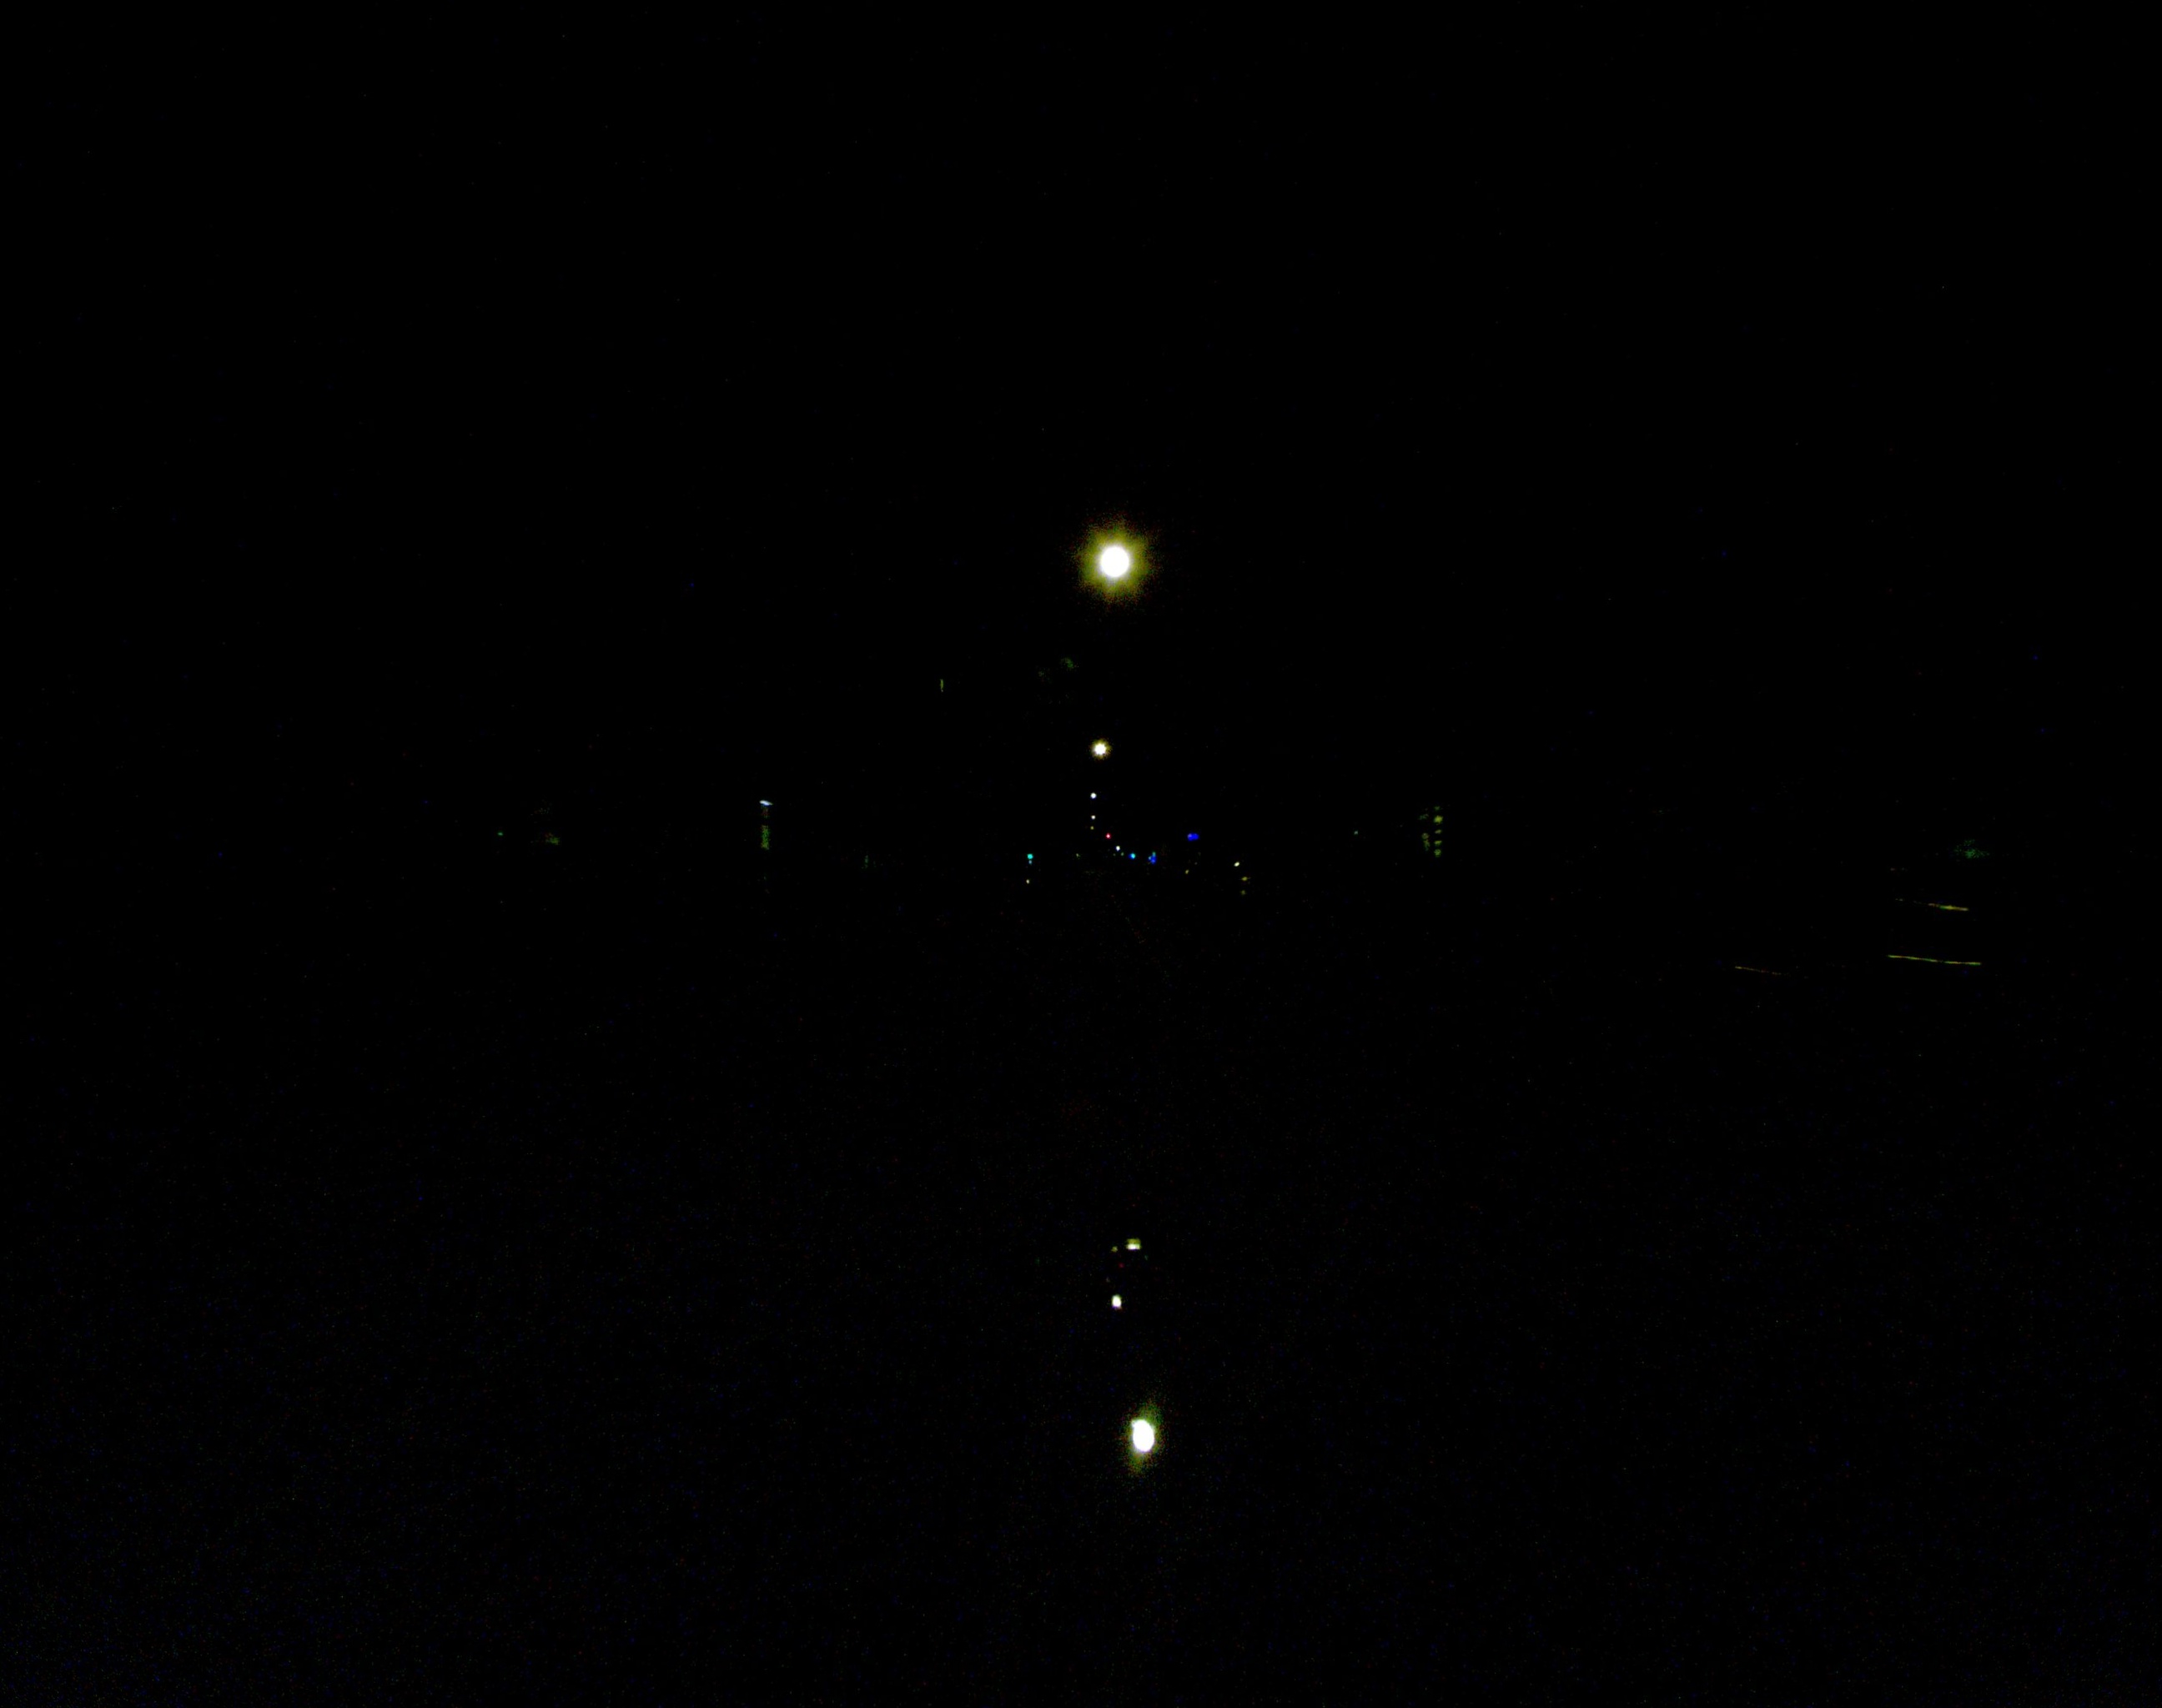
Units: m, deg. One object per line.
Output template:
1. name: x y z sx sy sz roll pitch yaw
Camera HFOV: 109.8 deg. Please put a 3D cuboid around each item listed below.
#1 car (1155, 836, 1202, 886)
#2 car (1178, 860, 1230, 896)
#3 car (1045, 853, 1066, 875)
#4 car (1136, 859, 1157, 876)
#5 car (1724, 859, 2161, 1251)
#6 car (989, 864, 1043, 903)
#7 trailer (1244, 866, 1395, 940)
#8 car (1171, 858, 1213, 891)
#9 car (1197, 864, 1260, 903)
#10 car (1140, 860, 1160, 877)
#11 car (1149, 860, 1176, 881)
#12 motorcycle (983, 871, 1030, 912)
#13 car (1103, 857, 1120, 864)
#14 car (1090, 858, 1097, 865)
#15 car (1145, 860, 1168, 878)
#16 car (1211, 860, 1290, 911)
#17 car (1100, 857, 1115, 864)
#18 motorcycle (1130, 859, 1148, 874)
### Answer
1. car: 6.097 0.444 48.195 2.184 2.892 4.909 -3 0 0
2. car: 5.922 1.096 37.000 1.746 1.597 4.297 -1 0 -1
3. car: -2.450 0.950 73.795 1.956 1.952 4.603 -1 0 -1
4. car: 6.504 1.315 75.312 1.646 1.495 3.903 -3 0 0
5. car: 5.532 0.870 3.438 1.826 1.589 4.073 -3 0 2
6. car: -2.621 1.180 31.498 1.672 1.420 4.148 1 0 3
7. trailer: 5.624 1.088 18.814 2.115 1.327 5.435 -4 0 2
8. car: 5.967 1.072 41.211 1.746 1.597 4.116 -3 -1 2
9. car: 6.007 1.163 31.512 1.709 1.403 4.633 -1 0 0
10. car: 6.387 1.356 70.895 1.448 1.421 3.903 -4 0 0
11. car: 6.199 1.262 57.934 1.649 1.496 3.861 -2 0 1
12. motorcycle: -2.547 1.243 25.792 0.930 1.276 2.230 0 0 -24
13. car: 7.787 1.672 192.485 4.055 1.879 1.634 -1 0 -3
14. car: 3.311 1.919 201.580 1.936 1.646 3.833 -1 0 0
15. car: 6.412 1.267 64.894 1.551 1.447 3.368 -3 0 0
16. car: 5.786 1.039 26.431 1.721 1.493 4.205 -4 0 0
17. car: 6.938 1.730 197.314 3.848 1.781 1.634 -1 0 -3
18. motorcycle: 6.492 1.407 85.300 1.909 1.541 0.638 -3 1 -19
